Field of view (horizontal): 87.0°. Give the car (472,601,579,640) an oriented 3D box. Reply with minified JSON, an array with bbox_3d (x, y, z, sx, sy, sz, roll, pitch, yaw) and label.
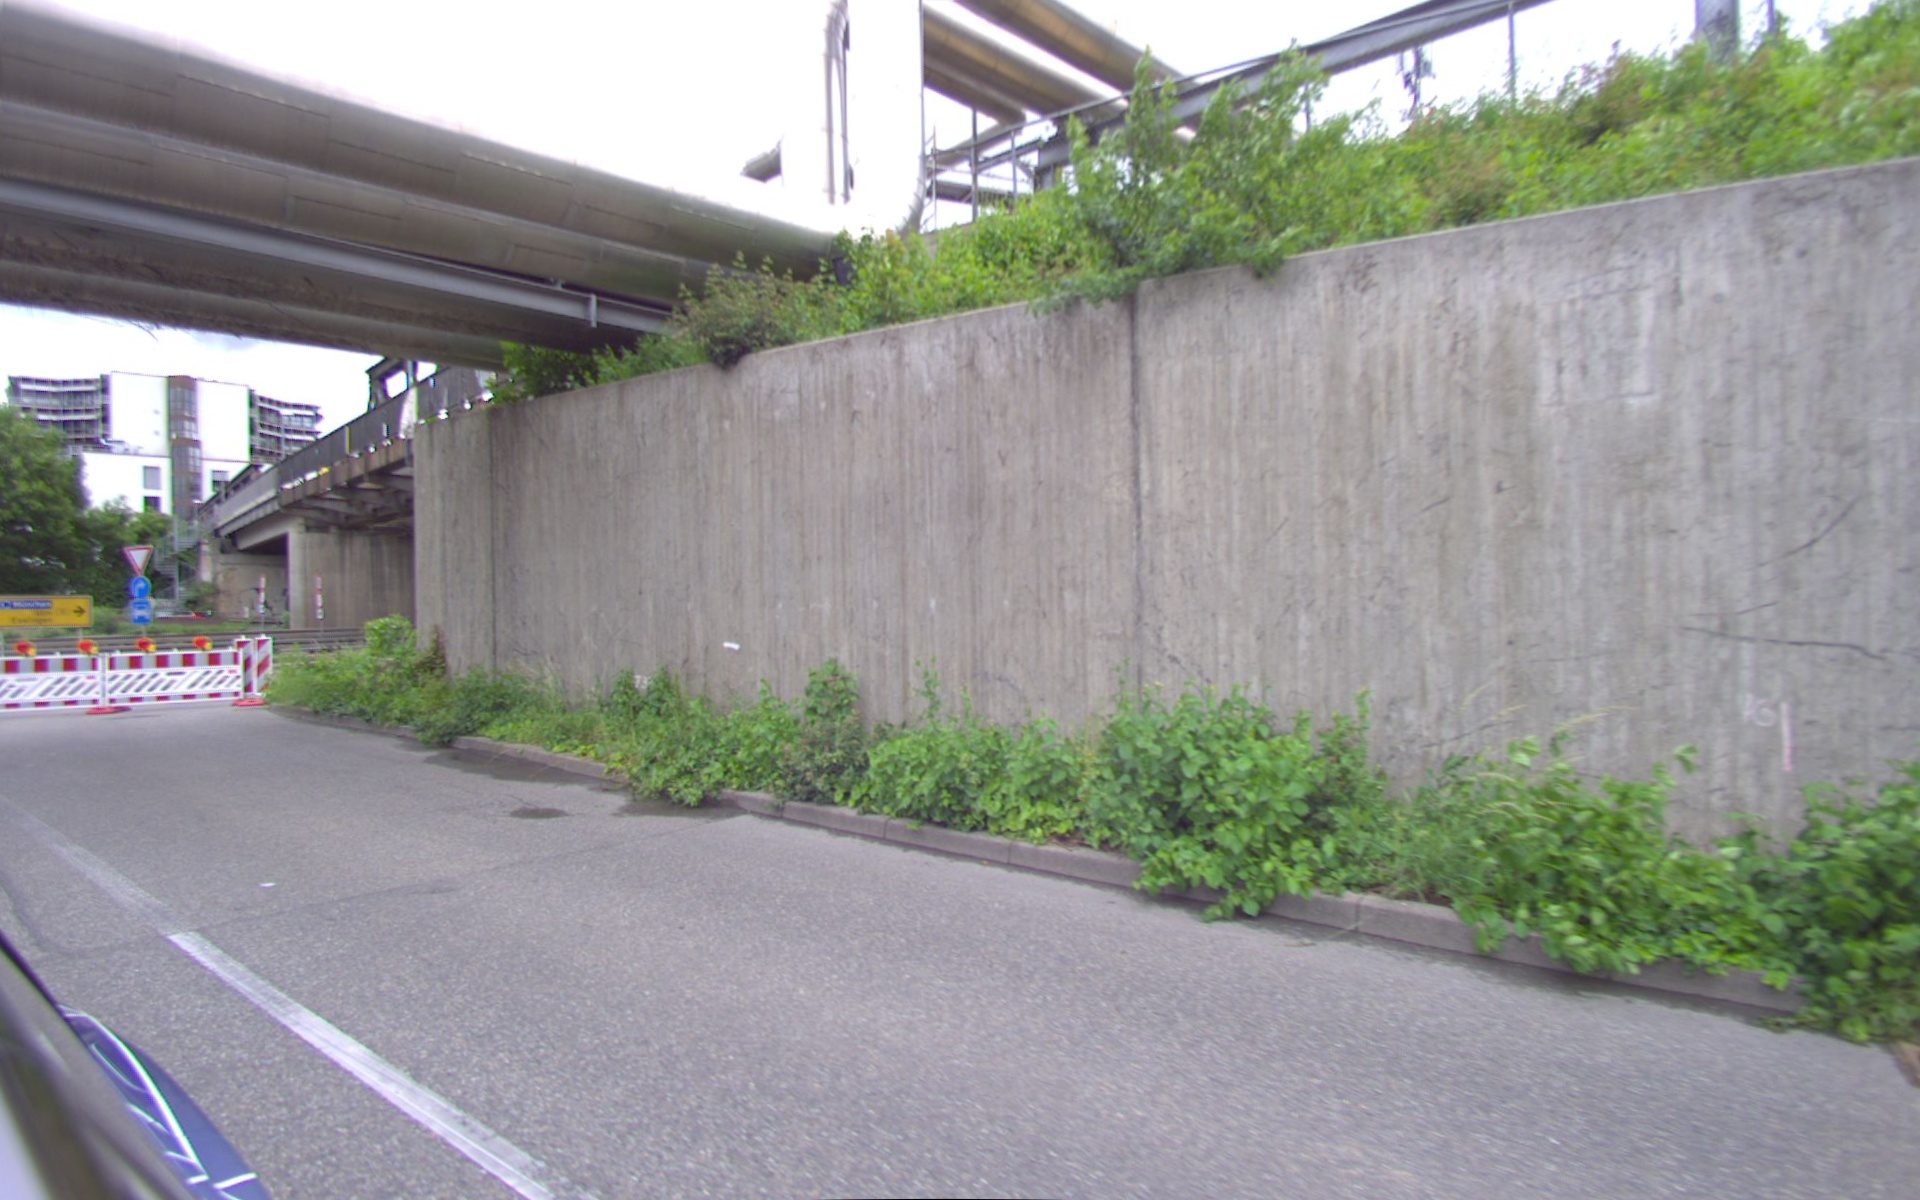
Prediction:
[{"bbox_3d":[-21.278,0.975,49.661,1.998,1.553,4.401,2,4,40],"label":"car"}]

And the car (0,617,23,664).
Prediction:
[{"bbox_3d":[-34.571,1.399,34.073,1.981,1.522,4.234,2,1,41],"label":"car"}]
